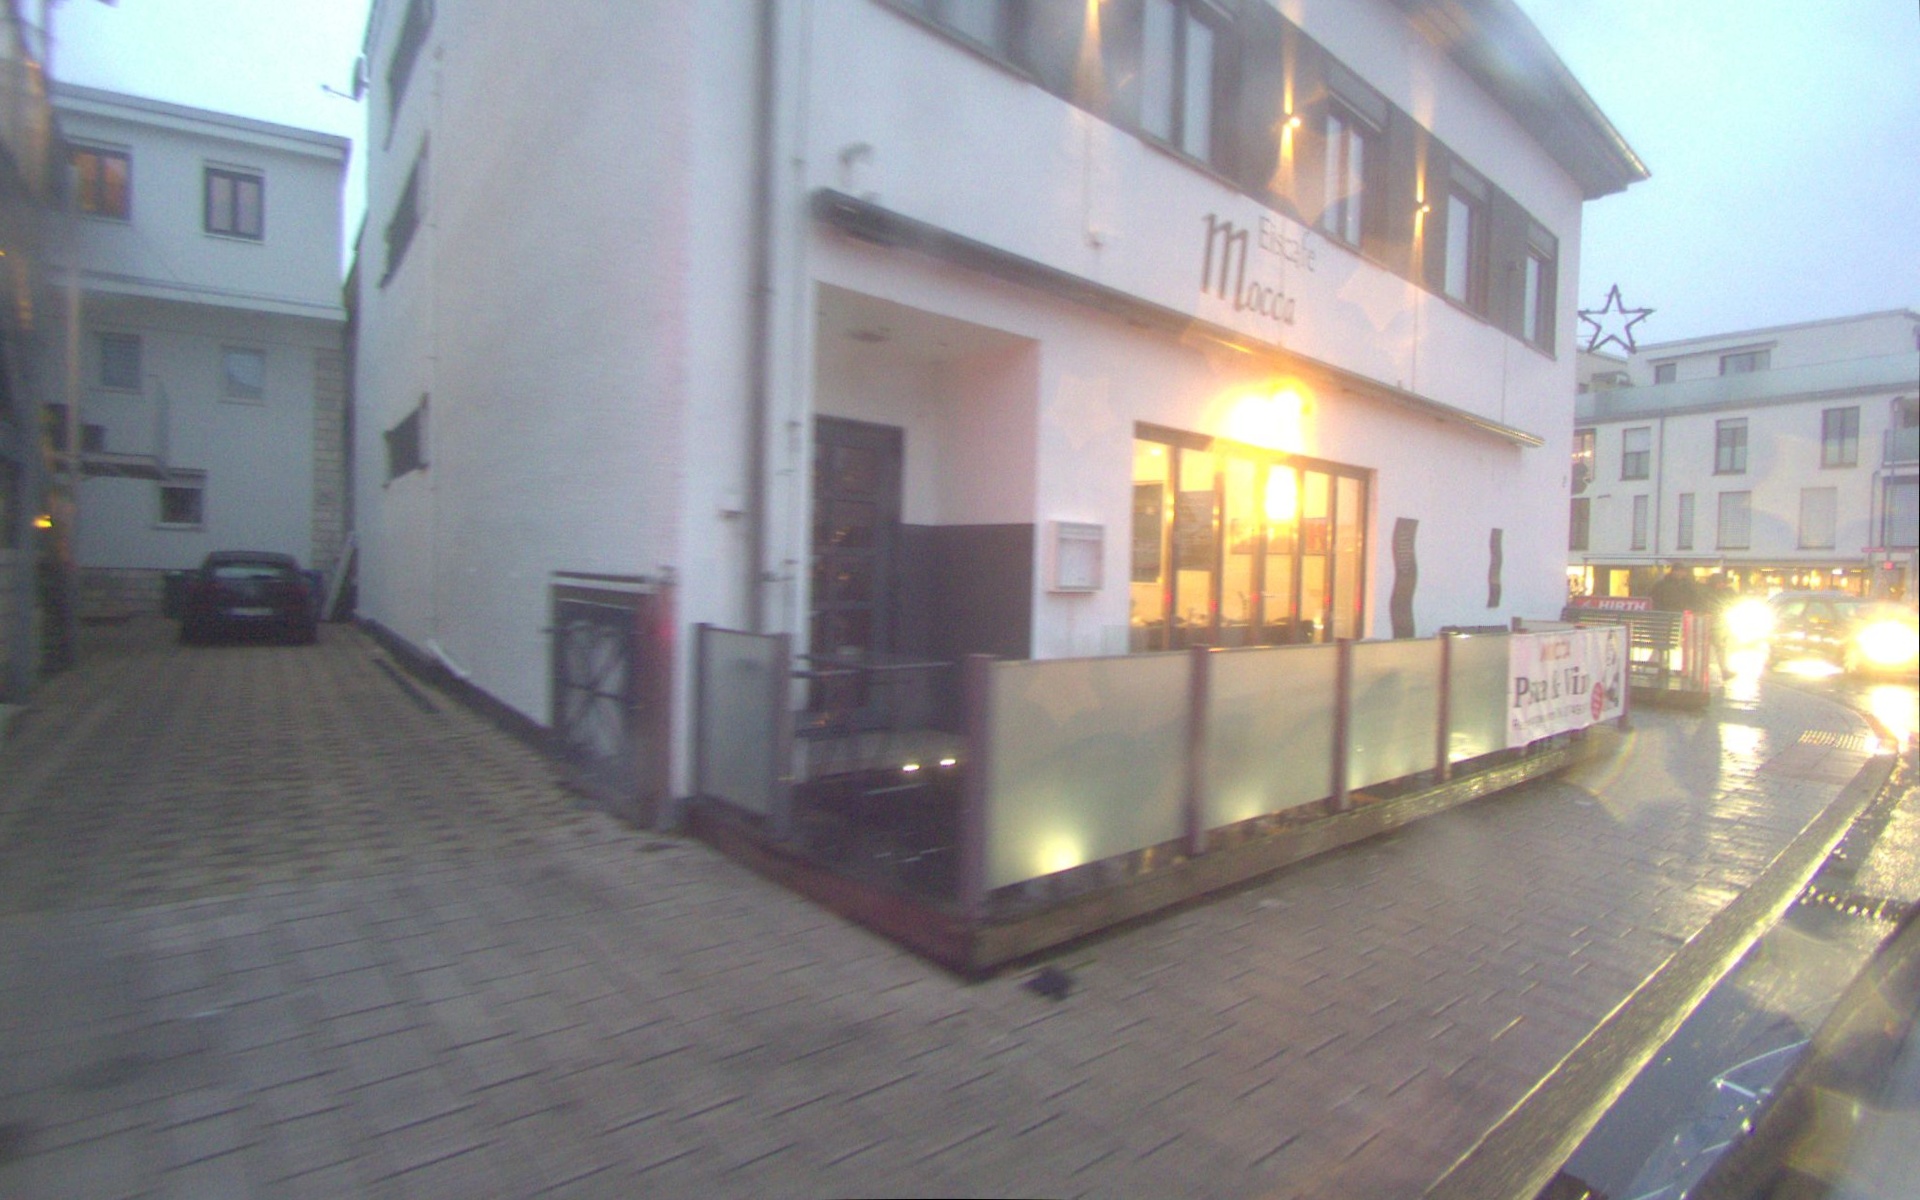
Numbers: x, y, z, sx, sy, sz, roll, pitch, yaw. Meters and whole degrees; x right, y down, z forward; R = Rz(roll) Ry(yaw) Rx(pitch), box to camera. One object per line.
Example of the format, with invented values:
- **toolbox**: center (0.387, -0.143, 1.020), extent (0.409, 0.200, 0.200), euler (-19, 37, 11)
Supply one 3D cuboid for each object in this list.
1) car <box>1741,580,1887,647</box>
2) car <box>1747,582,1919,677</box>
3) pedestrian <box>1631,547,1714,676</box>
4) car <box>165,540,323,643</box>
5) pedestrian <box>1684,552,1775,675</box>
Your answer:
- **car**: center (22.113, 0.282, 26.140), extent (4.476, 1.498, 2.027), euler (-2, 2, -38)
- **car**: center (16.301, 0.447, 18.164), extent (1.736, 1.498, 4.008), euler (0, 1, 10)
- **pedestrian**: center (10.791, 0.164, 15.358), extent (0.697, 1.889, 0.791), euler (-1, 1, 3)
- **car**: center (-12.016, -0.193, 16.933), extent (1.901, 1.433, 3.962), euler (3, 2, -37)
- **pedestrian**: center (11.537, 0.189, 15.205), extent (0.754, 1.783, 0.791), euler (-1, 1, 3)
